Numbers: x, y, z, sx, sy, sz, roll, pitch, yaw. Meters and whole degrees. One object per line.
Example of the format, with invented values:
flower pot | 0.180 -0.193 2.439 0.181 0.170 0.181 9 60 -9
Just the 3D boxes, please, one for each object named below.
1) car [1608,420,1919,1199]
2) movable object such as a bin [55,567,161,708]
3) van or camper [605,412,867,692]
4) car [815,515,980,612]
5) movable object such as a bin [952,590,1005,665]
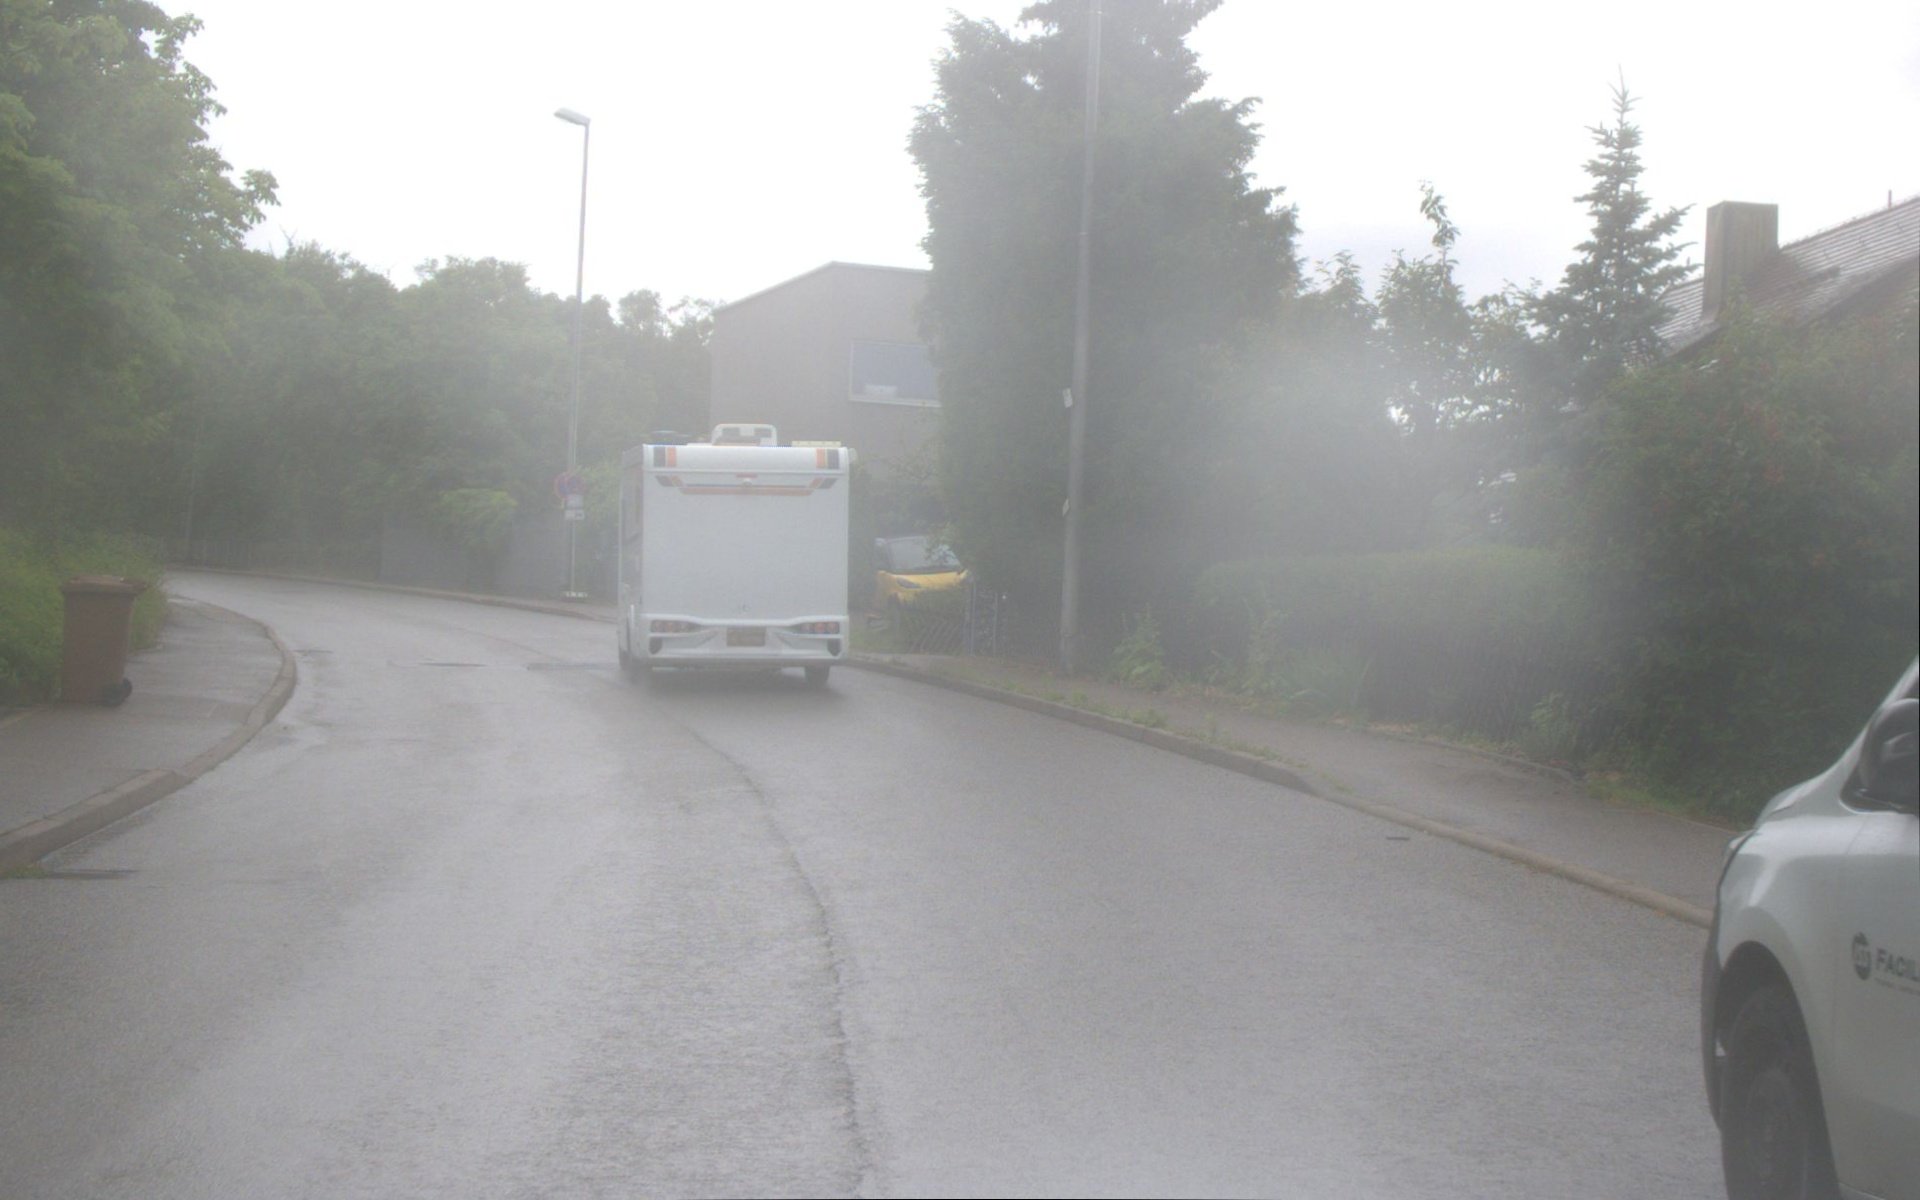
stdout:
car | 2.635 0.592 5.815 1.778 1.797 4.708 1 0 -5
movable object such as a bin | -7.245 0.315 29.254 0.694 1.086 0.803 4 4 -4
van or camper | -2.663 -0.528 39.242 2.539 2.915 5.949 1 0 -8
car | -1.092 -0.623 58.284 1.627 1.488 3.428 -4 2 -21
movable object such as a bin | 0.252 0.370 46.460 0.504 0.966 0.595 5 0 -15
